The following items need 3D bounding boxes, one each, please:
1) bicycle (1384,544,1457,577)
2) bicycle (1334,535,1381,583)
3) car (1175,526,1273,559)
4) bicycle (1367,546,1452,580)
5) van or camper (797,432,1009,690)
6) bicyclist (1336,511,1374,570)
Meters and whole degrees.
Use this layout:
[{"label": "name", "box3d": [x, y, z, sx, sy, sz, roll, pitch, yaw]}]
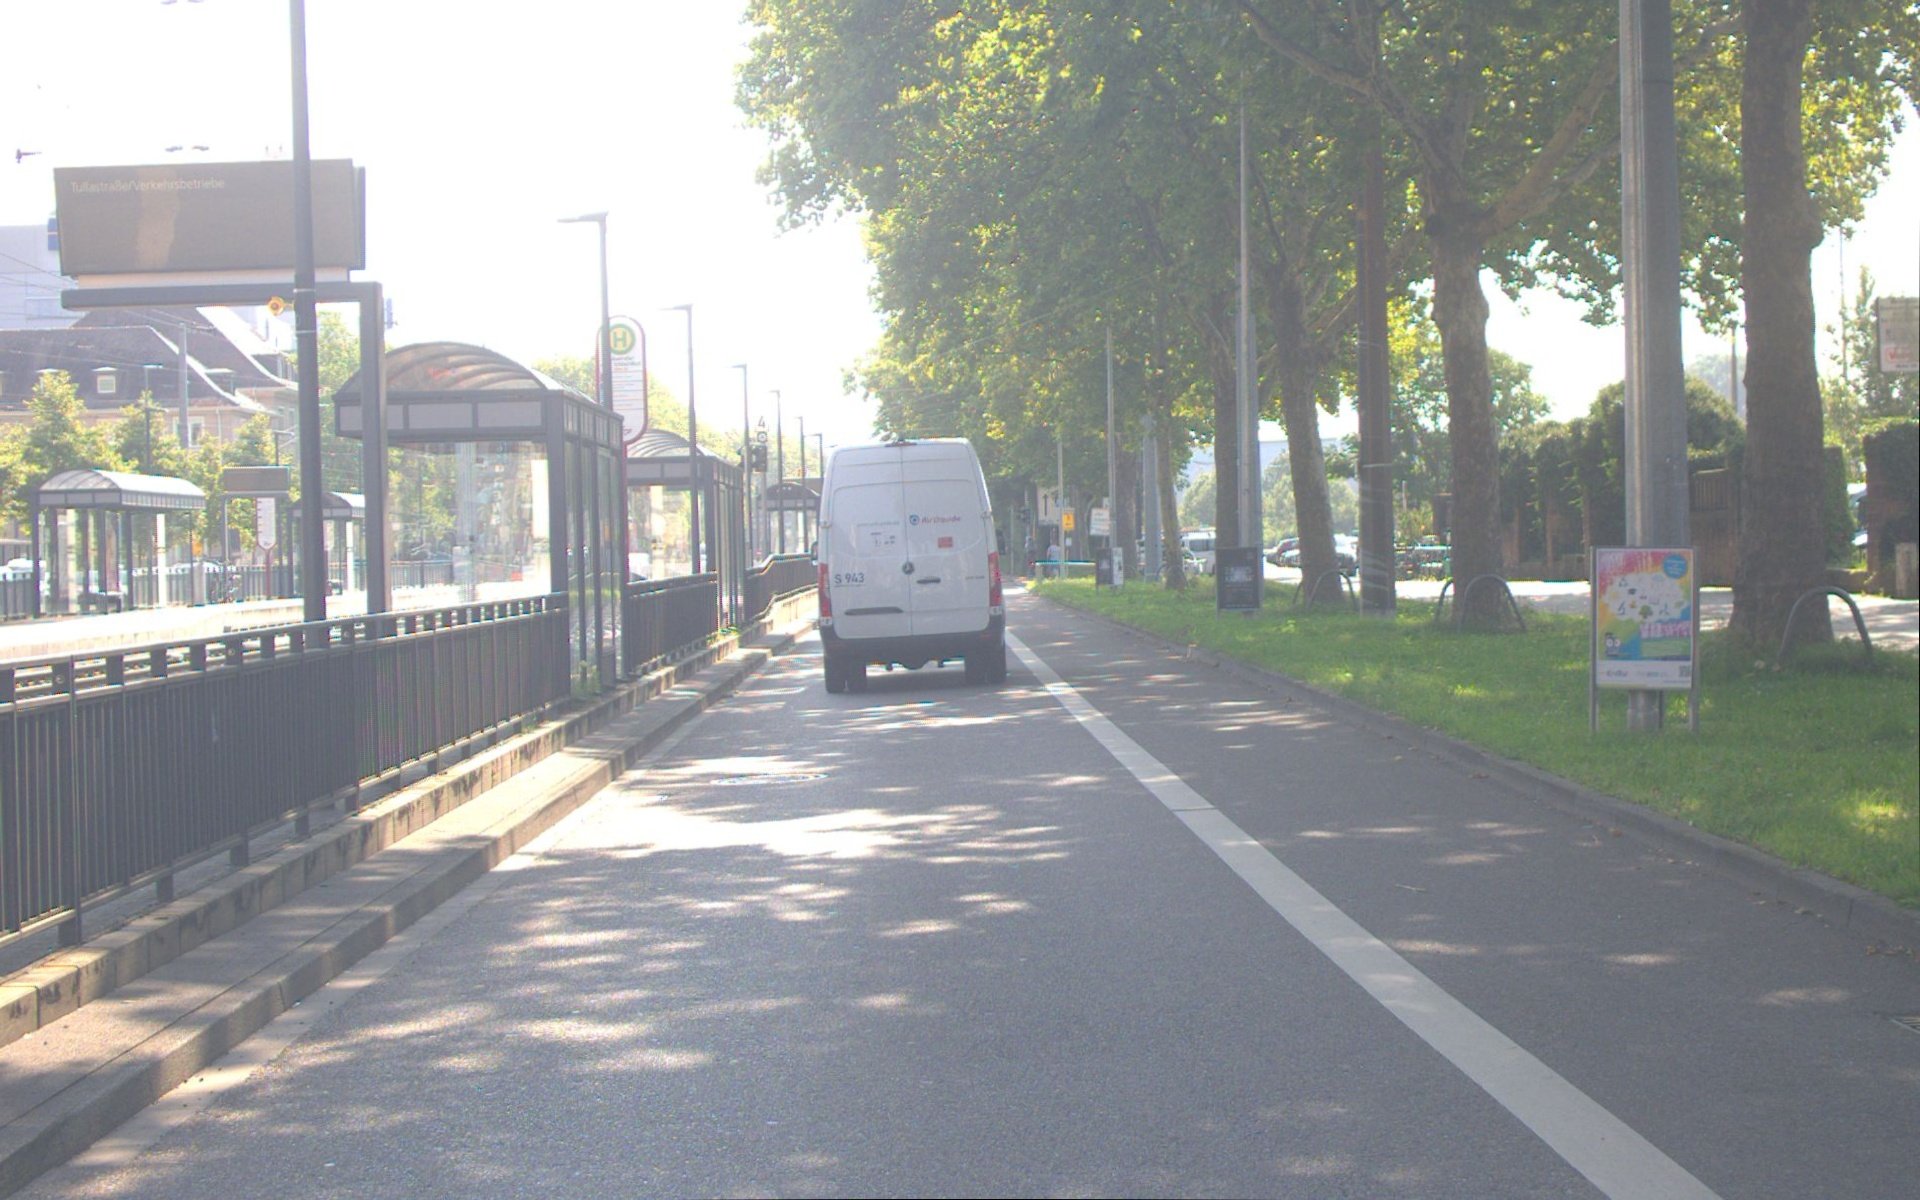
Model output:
[{"label": "bicycle", "box3d": [12.740, -1.090, 95.168, 1.932, 0.844, 0.372, -2, 1, 0]}, {"label": "bicycle", "box3d": [8.750, -0.911, 75.790, 0.681, 1.001, 2.218, -2, 1, -2]}, {"label": "car", "box3d": [11.160, -2.431, 145.421, 3.987, 1.371, 2.000, 0, 0, -1]}, {"label": "bicycle", "box3d": [12.066, -0.998, 92.369, 2.180, 0.844, 0.503, -2, 1, 0]}, {"label": "van or camper", "box3d": [-0.718, -0.445, 38.345, 2.115, 2.673, 5.251, 0, 1, -4]}, {"label": "bicyclist", "box3d": [8.713, -1.303, 75.852, 0.669, 1.272, 0.728, -2, 1, -2]}]
